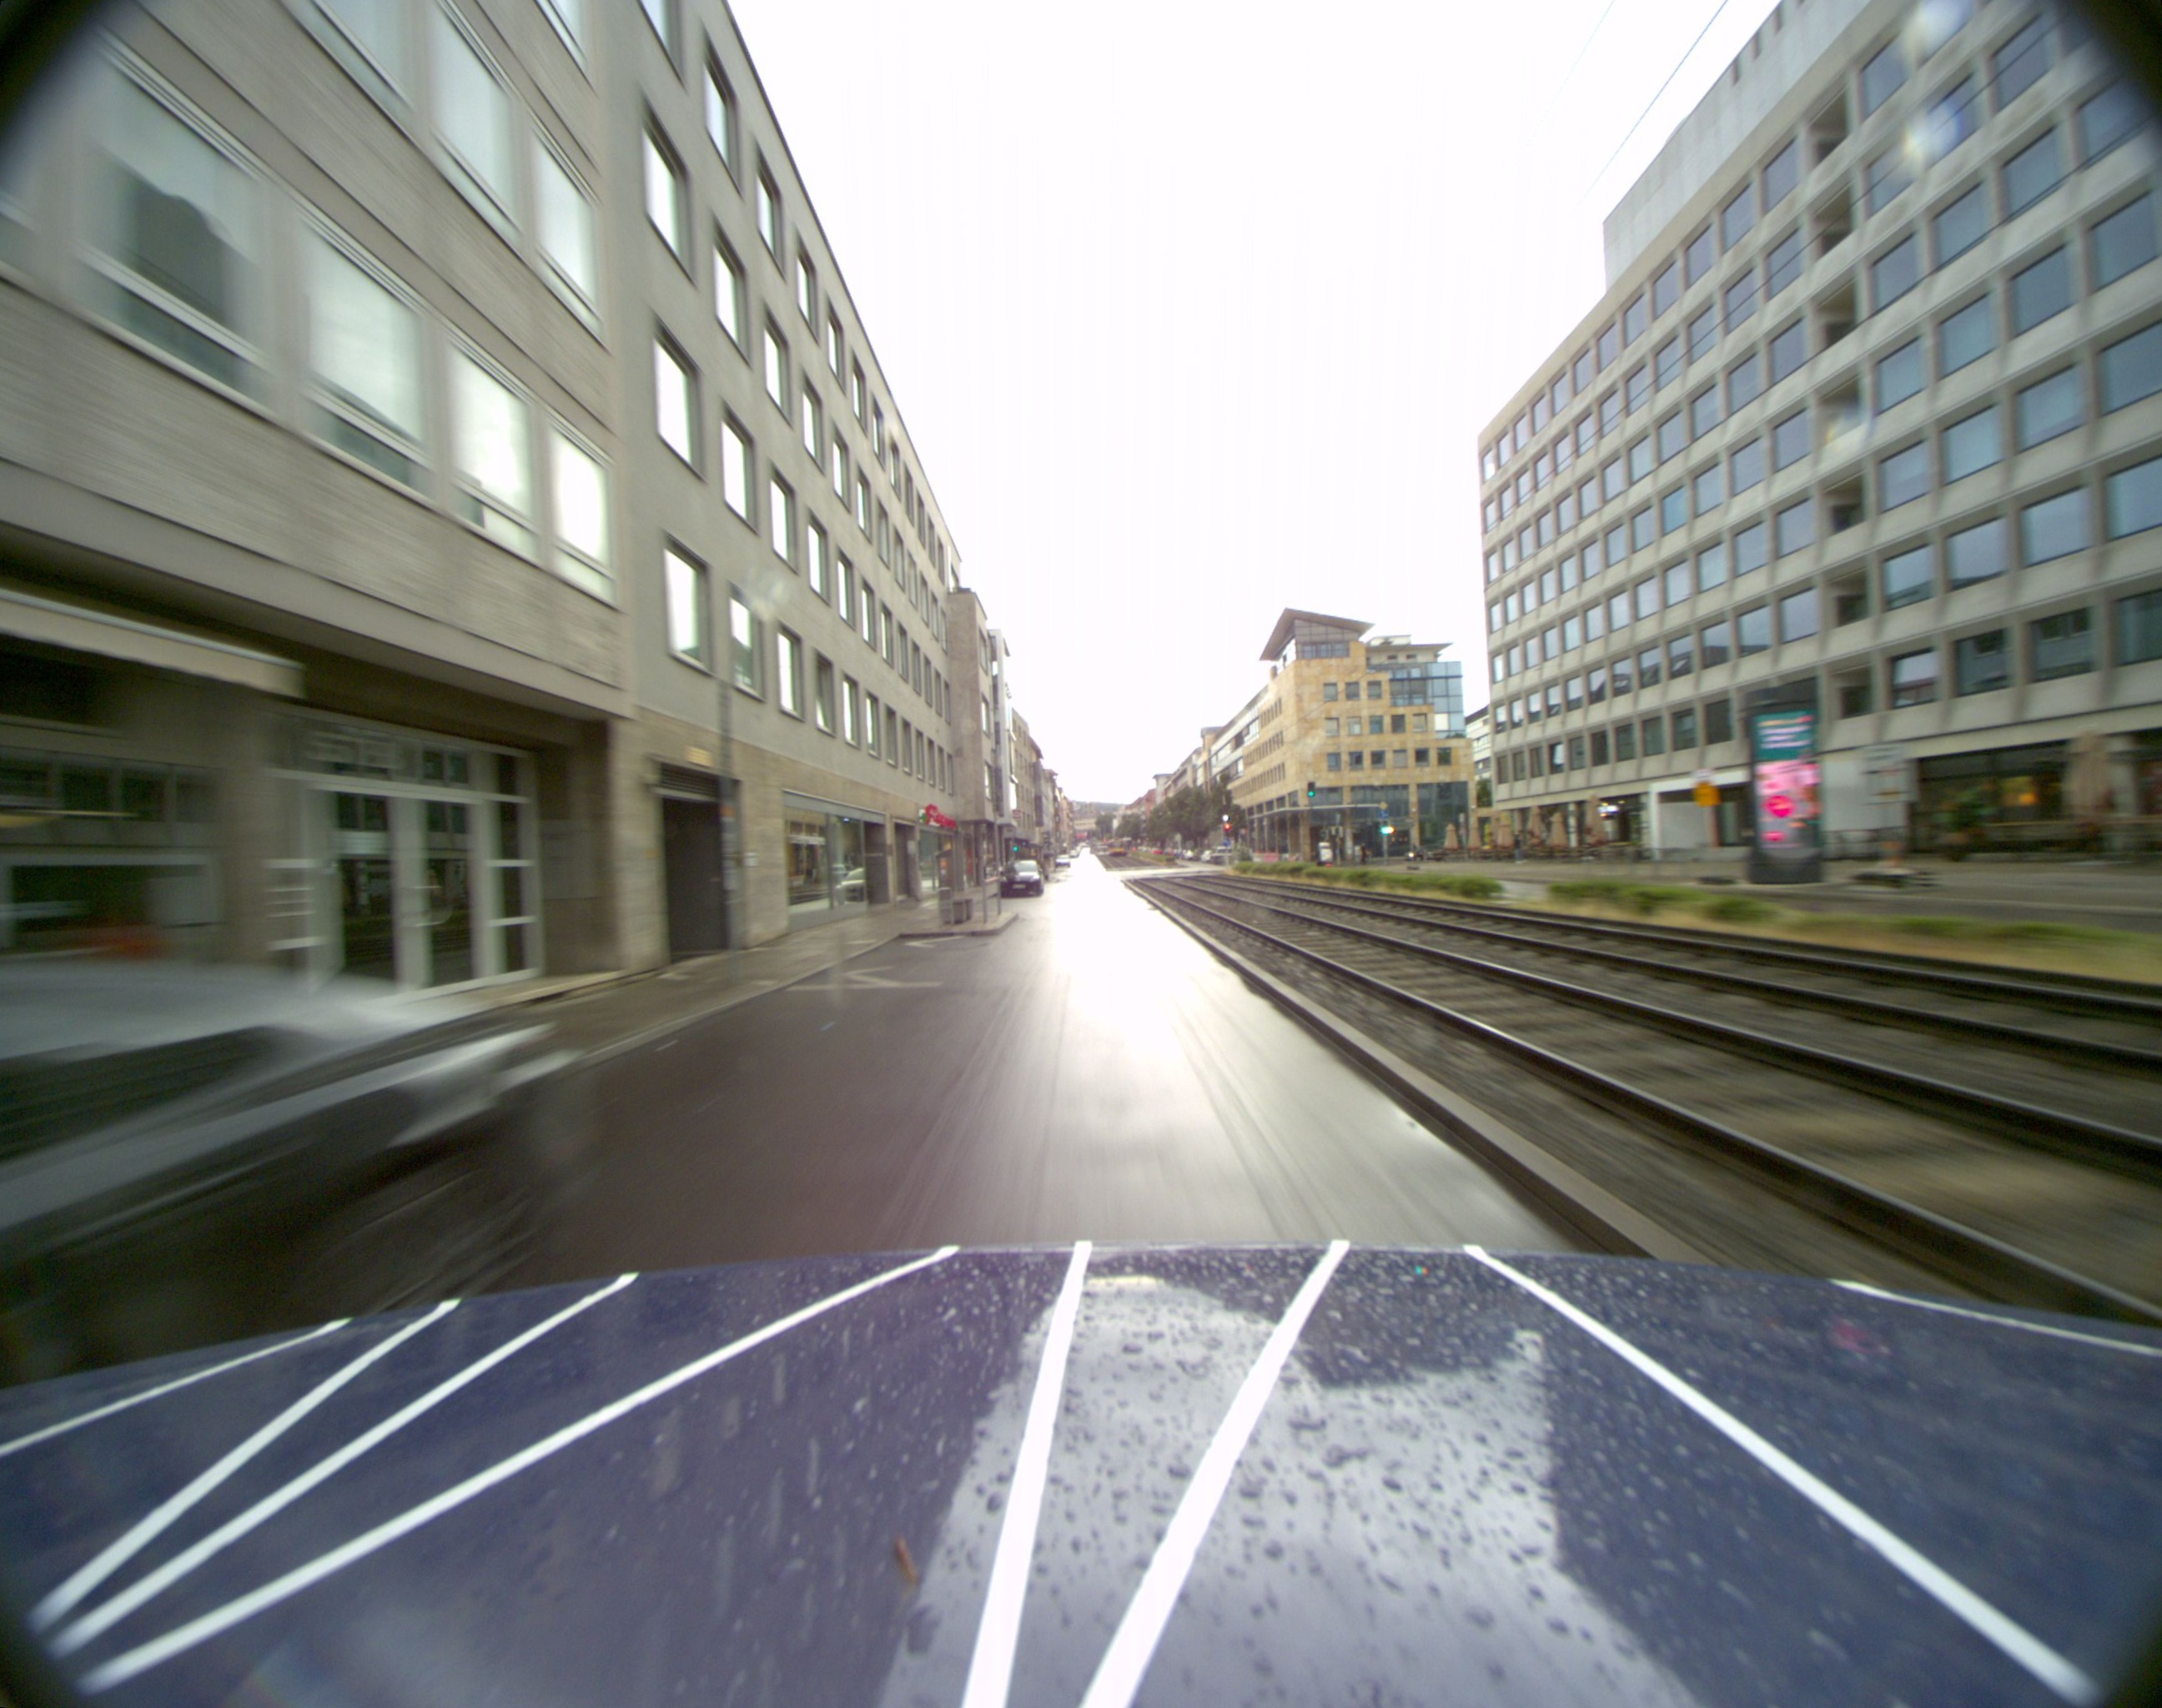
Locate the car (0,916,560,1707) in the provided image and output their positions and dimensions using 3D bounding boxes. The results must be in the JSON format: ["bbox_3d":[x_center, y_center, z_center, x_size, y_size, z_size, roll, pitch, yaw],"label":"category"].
[{"bbox_3d":[-2.844,1.063,0.292,1.998,1.585,4.571,-2,1,1],"label":"car"}]

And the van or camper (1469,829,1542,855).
[{"bbox_3d":[37.064,-1.039,66.388,5.095,2.050,2.096,-3,0,0],"label":"van or camper"}]

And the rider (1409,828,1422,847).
[{"bbox_3d":[29.880,-1.444,67.855,0.710,1.666,0.784,-3,0,1],"label":"rider"}]

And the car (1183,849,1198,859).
[{"bbox_3d":[16.341,-0.016,113.449,1.653,1.489,4.292,-2,1,1],"label":"car"}]

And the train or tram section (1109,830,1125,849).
[{"bbox_3d":[8.139,-3.222,173.122,2.909,4.027,18.764,-2,1,1],"label":"train or tram section"}]

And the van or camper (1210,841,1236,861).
[{"bbox_3d":[15.849,-0.346,85.059,2.022,1.986,5.196,-3,1,1],"label":"van or camper"}]

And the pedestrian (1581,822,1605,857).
[{"bbox_3d":[25.893,-0.727,38.423,0.566,1.738,0.844,-3,0,-4],"label":"pedestrian"}]

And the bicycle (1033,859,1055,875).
[{"bbox_3d":[-2.767,0.947,56.539,0.579,1.150,1.951,-4,1,-36],"label":"bicycle"}]

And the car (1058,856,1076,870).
[{"bbox_3d":[-1.685,1.067,93.423,2.029,1.585,4.620,-2,1,0],"label":"car"}]

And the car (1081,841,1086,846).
[{"bbox_3d":[0.742,-3.523,250.097,1.653,1.584,4.067,-2,1,1],"label":"car"}]

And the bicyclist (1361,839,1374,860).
[{"bbox_3d":[25.520,-0.403,67.676,0.710,1.794,0.784,-3,0,1],"label":"bicyclist"}]

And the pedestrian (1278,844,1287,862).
[{"bbox_3d":[20.491,-0.097,77.357,0.703,1.804,0.679,-3,0,3],"label":"pedestrian"}]

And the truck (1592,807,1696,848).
[{"bbox_3d":[49.007,-2.315,66.202,7.167,3.145,2.461,-3,0,-1],"label":"truck"}]

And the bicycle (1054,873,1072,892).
[{"bbox_3d":[-1.256,1.974,52.675,0.499,1.251,1.953,-3,1,-24],"label":"bicycle"}]

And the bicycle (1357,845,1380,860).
[{"bbox_3d":[25.618,-0.129,67.807,1.768,1.303,0.660,-3,0,0],"label":"bicycle"}]

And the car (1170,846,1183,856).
[{"bbox_3d":[16.533,-0.545,131.429,1.653,1.532,4.621,-2,1,1],"label":"car"}]

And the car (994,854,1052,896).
[{"bbox_3d":[-2.404,0.835,32.514,1.998,1.585,4.271,-2,1,1],"label":"car"}]

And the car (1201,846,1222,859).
[{"bbox_3d":[15.899,-0.192,92.674,1.693,1.477,4.255,-3,0,-1],"label":"car"}]

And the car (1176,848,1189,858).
[{"bbox_3d":[16.771,-0.215,125.931,1.653,1.532,4.621,-2,1,1],"label":"car"}]

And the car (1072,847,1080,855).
[{"bbox_3d":[-1.035,-0.636,161.861,1.653,1.489,4.067,-2,1,1],"label":"car"}]

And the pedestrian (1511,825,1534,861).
[{"bbox_3d":[22.353,-0.550,38.487,0.566,1.812,0.844,-3,0,-4],"label":"pedestrian"}]

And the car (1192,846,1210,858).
[{"bbox_3d":[16.233,-0.286,103.203,1.693,1.477,4.000,-3,0,-1],"label":"car"}]

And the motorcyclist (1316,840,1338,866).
[{"bbox_3d":[11.582,-0.051,35.799,0.743,1.210,0.970,-3,1,3],"label":"motorcyclist"}]

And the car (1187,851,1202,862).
[{"bbox_3d":[16.110,0.374,108.123,1.653,1.489,4.192,-2,1,1],"label":"car"}]

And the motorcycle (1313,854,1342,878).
[{"bbox_3d":[11.618,0.549,35.848,0.744,1.053,1.931,-3,1,3],"label":"motorcycle"}]

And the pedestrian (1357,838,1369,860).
[{"bbox_3d":[23.424,-0.413,63.045,0.677,1.770,0.705,-3,0,36],"label":"pedestrian"}]

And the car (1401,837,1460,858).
[{"bbox_3d":[29.297,-0.544,63.727,3.996,1.521,1.891,-3,0,2],"label":"car"}]

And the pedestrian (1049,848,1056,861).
[{"bbox_3d":[-3.730,0.082,98.159,0.793,1.650,0.721,-4,1,0],"label":"pedestrian"}]

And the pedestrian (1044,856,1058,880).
[{"bbox_3d":[-1.952,0.899,49.590,0.662,1.573,0.778,-2,1,-21],"label":"pedestrian"}]
